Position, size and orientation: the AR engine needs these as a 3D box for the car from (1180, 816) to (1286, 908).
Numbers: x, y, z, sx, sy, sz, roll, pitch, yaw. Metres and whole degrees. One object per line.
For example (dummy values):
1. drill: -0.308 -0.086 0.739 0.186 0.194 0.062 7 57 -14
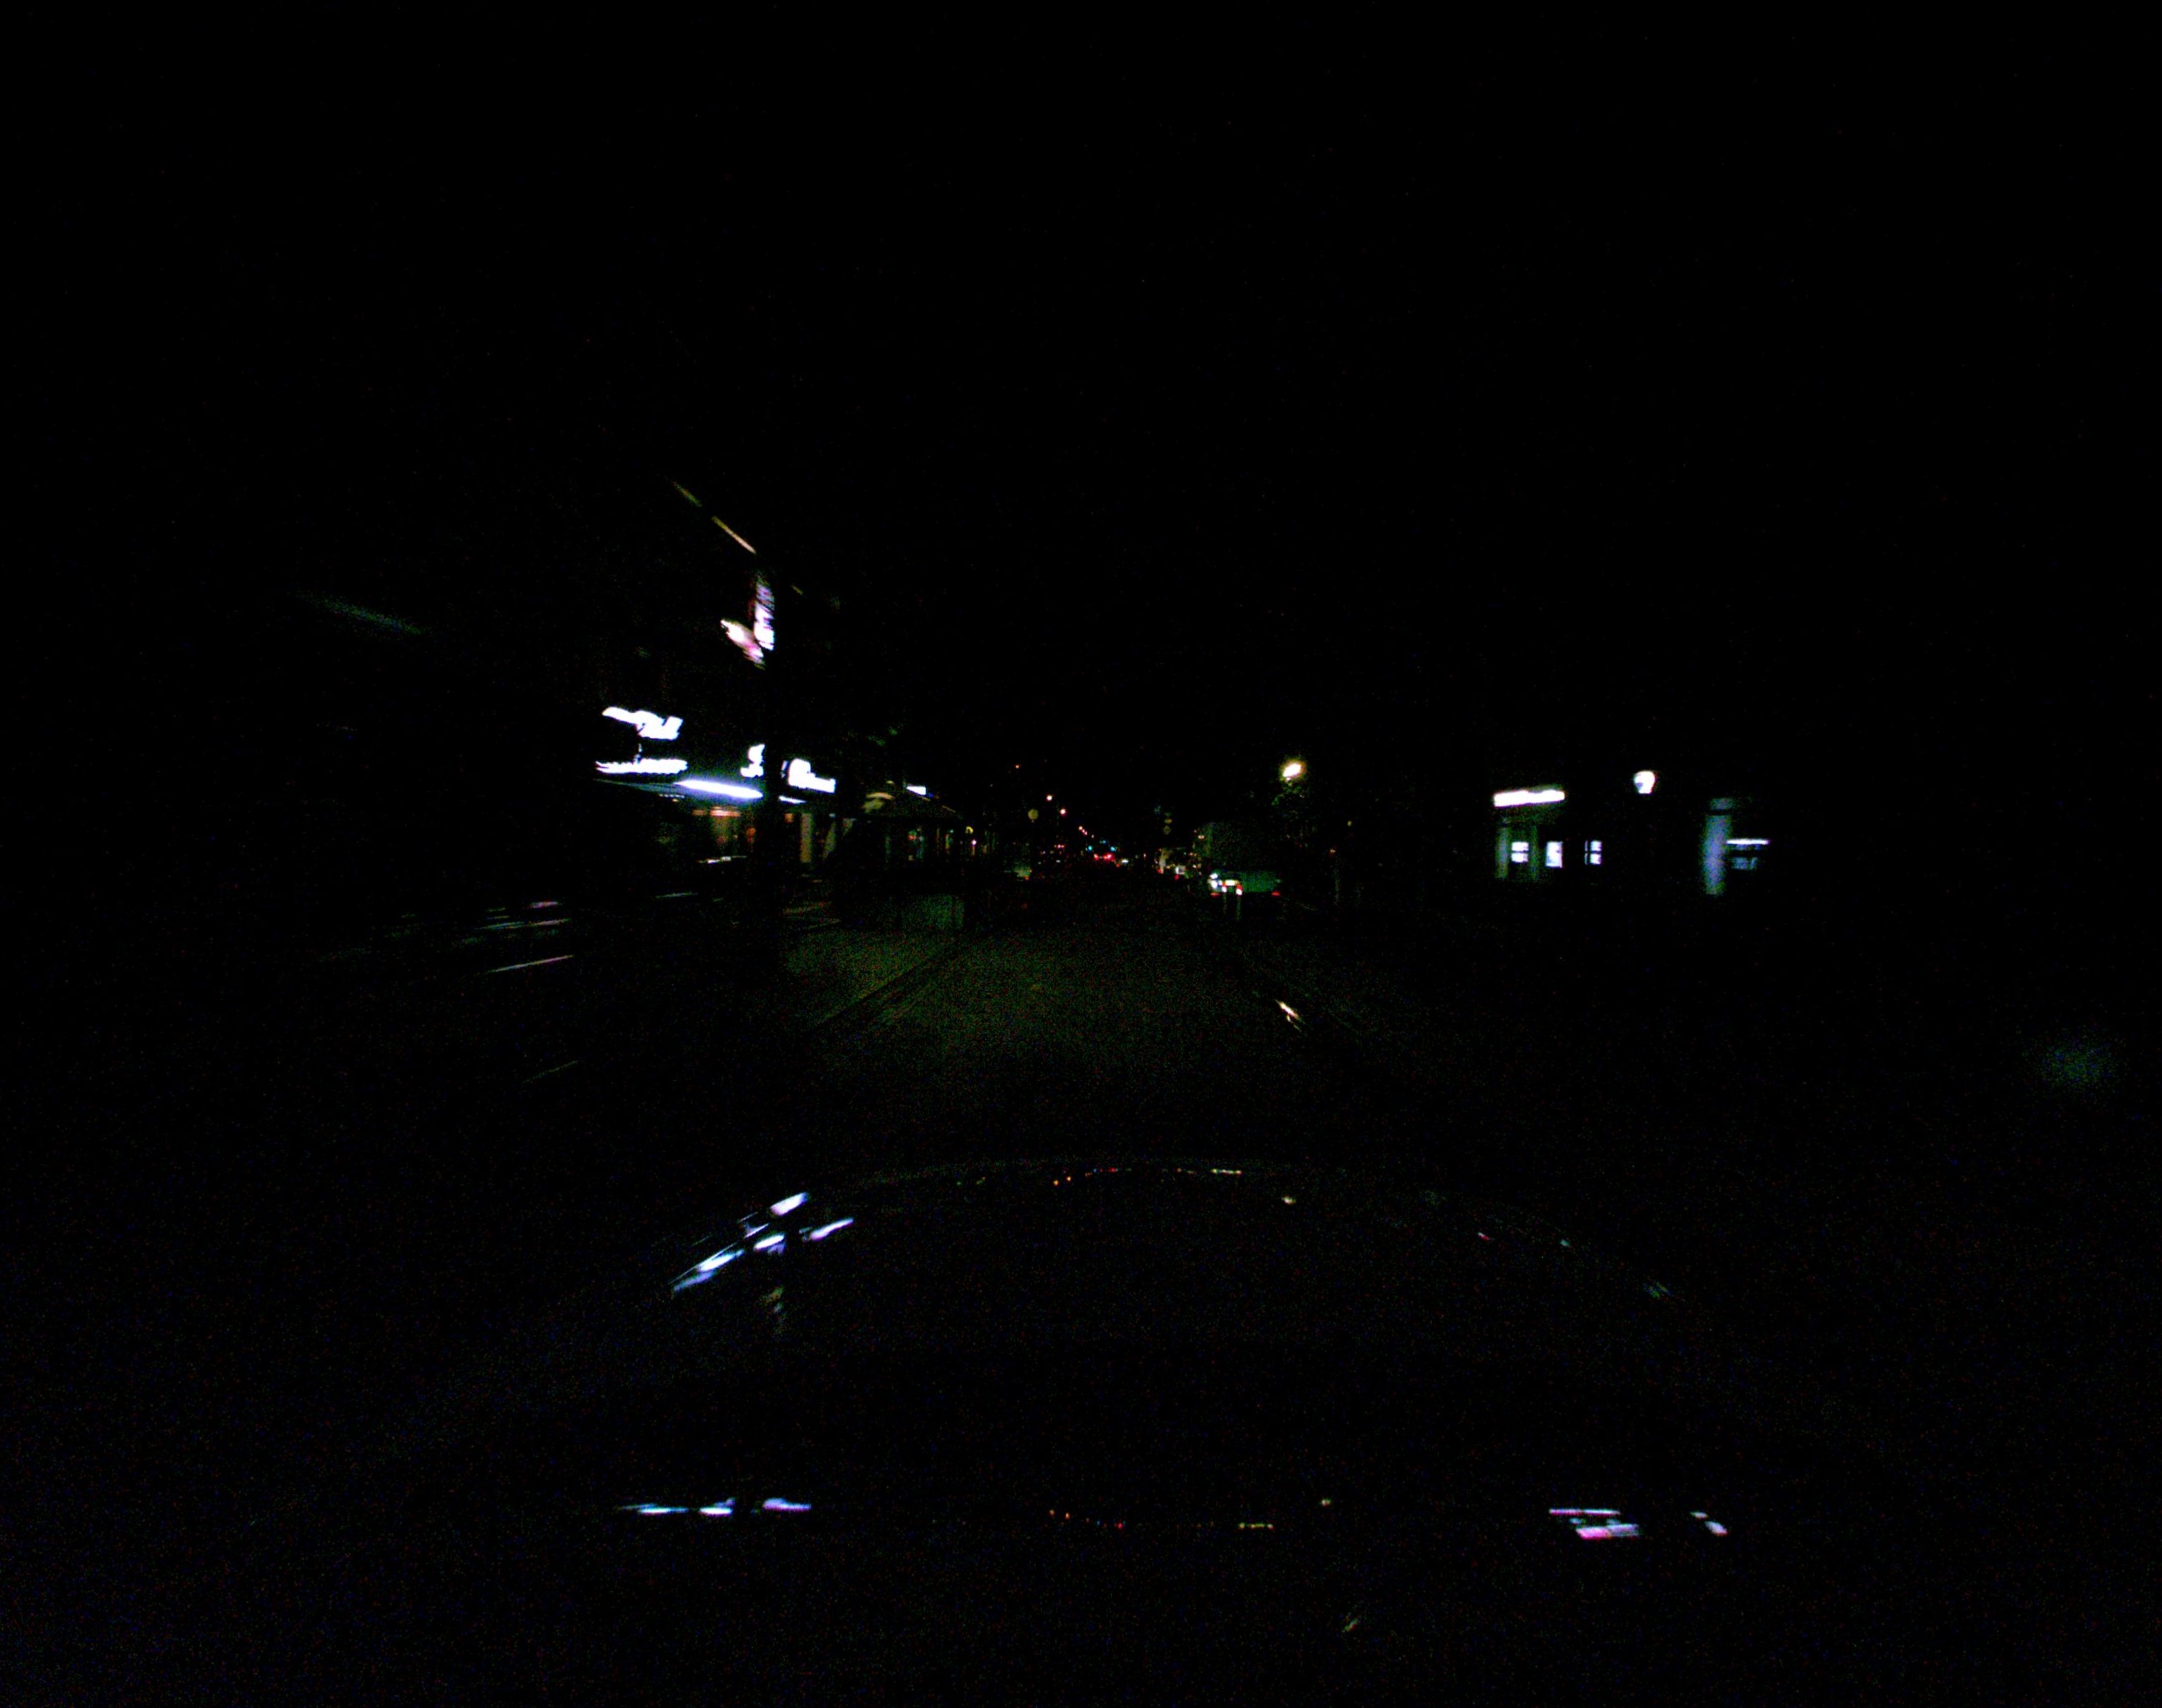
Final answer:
1. car: 4.185 0.205 23.311 2.127 2.326 5.152 1 0 1

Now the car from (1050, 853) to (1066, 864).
1. car: -2.985 0.572 108.182 1.734 1.413 4.498 2 0 2

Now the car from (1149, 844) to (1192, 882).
1. car: 4.559 0.440 42.083 1.783 1.822 4.580 1 0 1

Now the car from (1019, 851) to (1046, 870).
1. car: -4.135 0.529 70.234 1.800 1.425 4.923 3 0 2

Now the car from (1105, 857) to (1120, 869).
1. car: 3.986 1.153 102.167 1.757 1.414 4.810 0 0 2

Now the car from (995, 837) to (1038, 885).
1. car: -3.082 0.331 39.492 1.849 2.087 5.084 3 0 -4

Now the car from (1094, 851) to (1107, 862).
1. car: 3.084 0.427 126.944 1.986 1.643 4.001 0 0 1

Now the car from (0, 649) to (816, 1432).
1. car: -3.355 0.429 4.595 1.918 1.965 5.077 2 0 1

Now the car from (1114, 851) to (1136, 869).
1. car: 3.743 0.501 69.608 1.811 1.500 4.002 1 0 2

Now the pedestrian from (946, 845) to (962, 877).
1. pedestrian: -6.763 0.369 43.358 0.666 1.719 0.909 1 0 1

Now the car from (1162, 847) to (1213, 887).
1. car: 4.622 0.530 35.958 1.679 1.659 4.296 1 0 0
